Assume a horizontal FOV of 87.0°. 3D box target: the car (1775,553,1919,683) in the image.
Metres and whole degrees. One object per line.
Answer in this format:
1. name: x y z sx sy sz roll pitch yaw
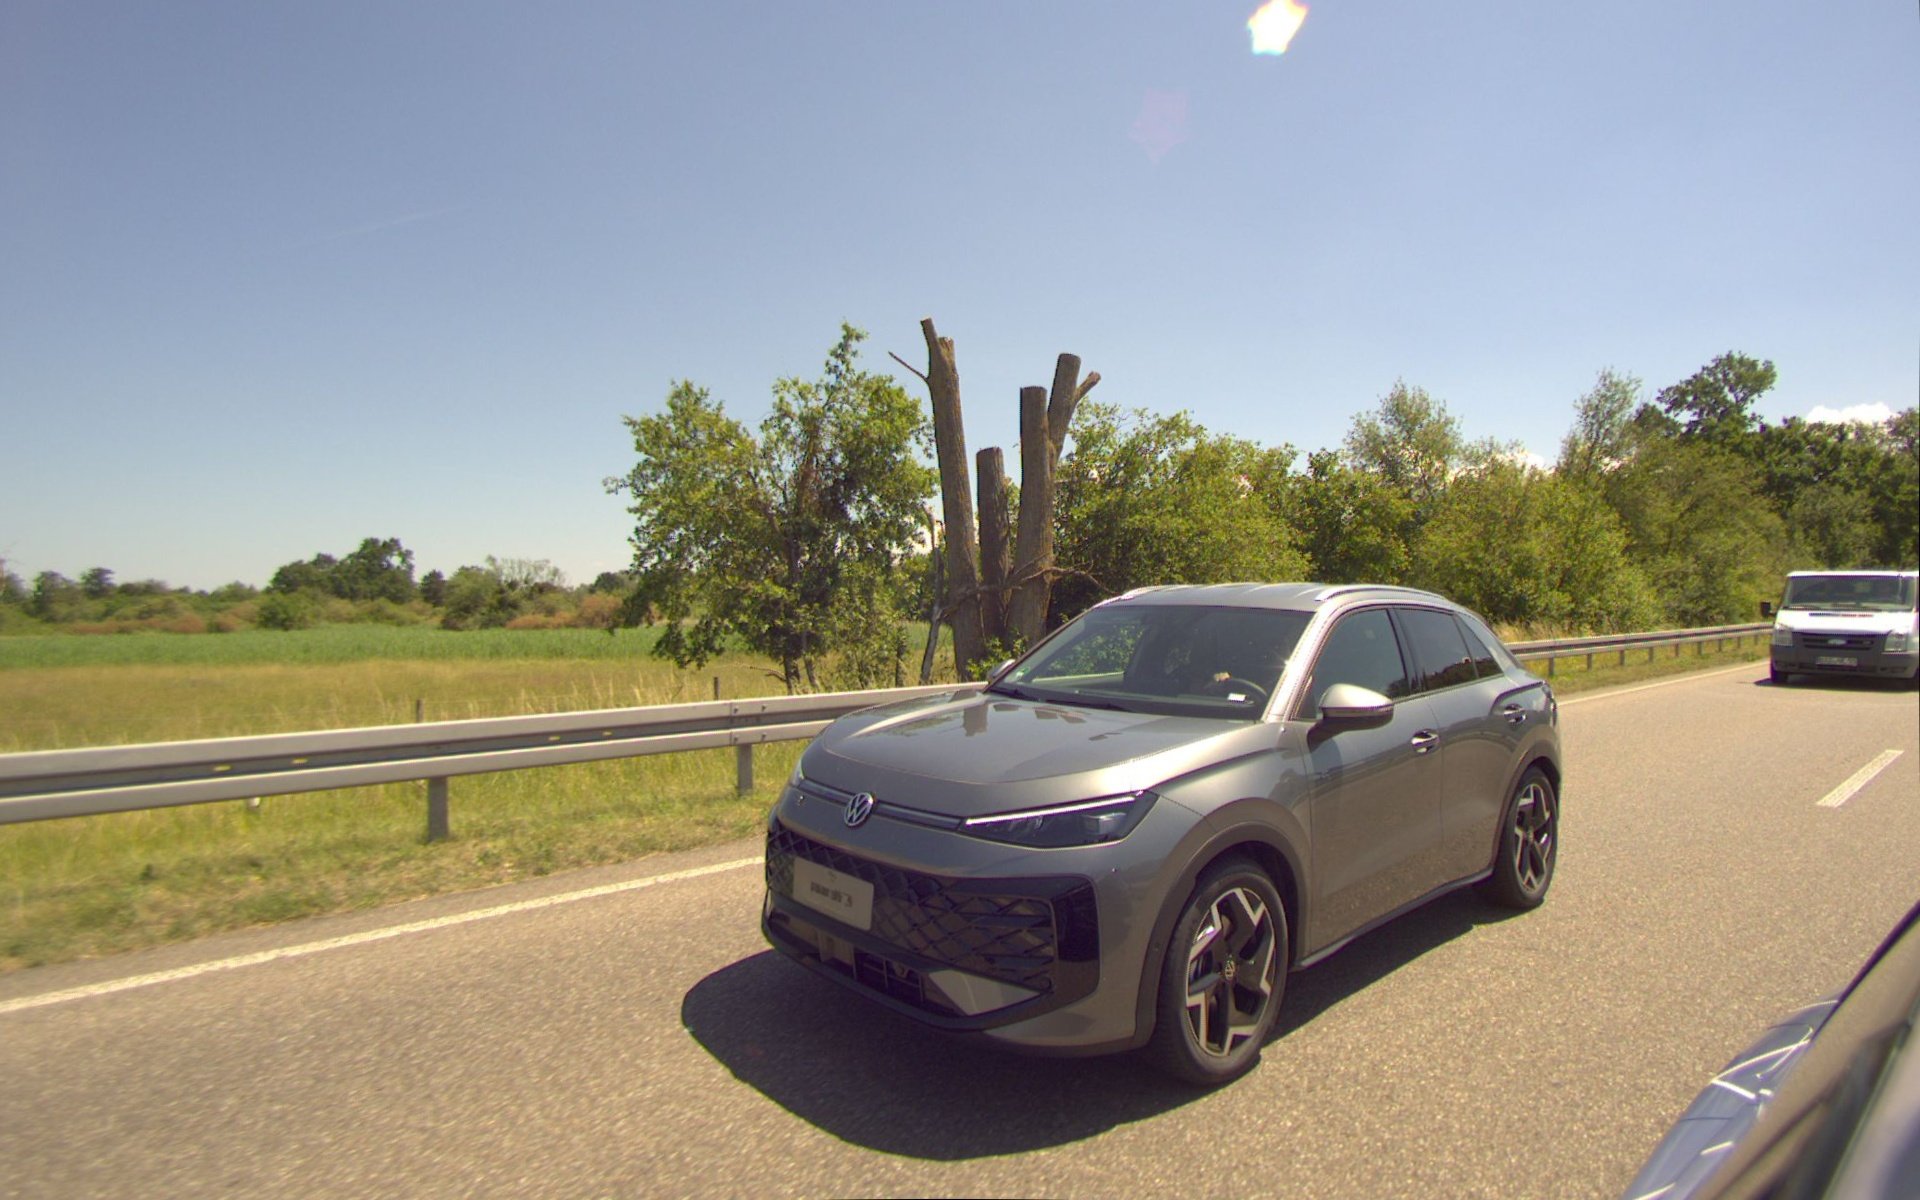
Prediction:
1. car: 16.206 0.285 17.920 4.948 2.014 2.008 0 -1 -42

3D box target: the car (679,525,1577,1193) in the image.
1. car: 1.022 0.599 4.385 3.950 1.573 1.787 0 0 -42
